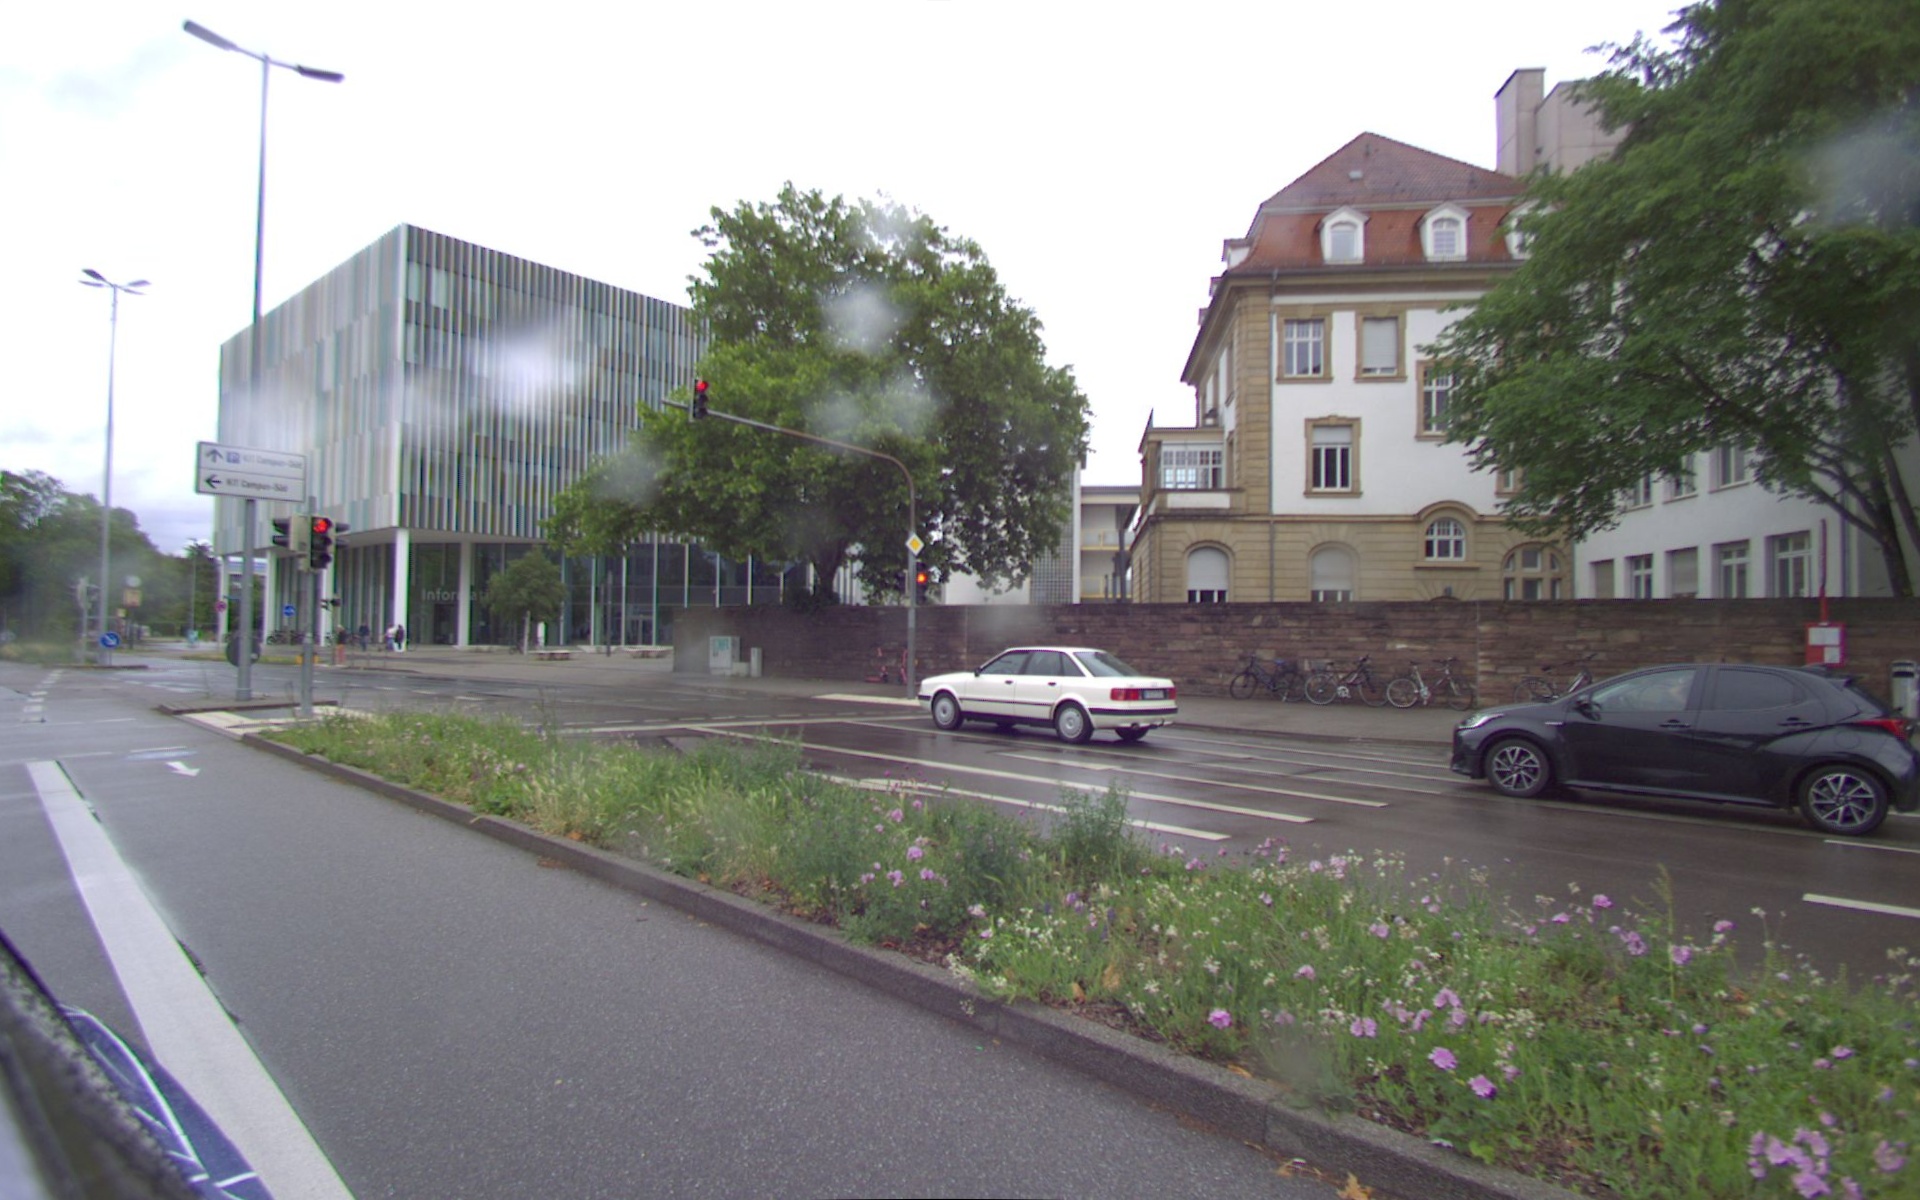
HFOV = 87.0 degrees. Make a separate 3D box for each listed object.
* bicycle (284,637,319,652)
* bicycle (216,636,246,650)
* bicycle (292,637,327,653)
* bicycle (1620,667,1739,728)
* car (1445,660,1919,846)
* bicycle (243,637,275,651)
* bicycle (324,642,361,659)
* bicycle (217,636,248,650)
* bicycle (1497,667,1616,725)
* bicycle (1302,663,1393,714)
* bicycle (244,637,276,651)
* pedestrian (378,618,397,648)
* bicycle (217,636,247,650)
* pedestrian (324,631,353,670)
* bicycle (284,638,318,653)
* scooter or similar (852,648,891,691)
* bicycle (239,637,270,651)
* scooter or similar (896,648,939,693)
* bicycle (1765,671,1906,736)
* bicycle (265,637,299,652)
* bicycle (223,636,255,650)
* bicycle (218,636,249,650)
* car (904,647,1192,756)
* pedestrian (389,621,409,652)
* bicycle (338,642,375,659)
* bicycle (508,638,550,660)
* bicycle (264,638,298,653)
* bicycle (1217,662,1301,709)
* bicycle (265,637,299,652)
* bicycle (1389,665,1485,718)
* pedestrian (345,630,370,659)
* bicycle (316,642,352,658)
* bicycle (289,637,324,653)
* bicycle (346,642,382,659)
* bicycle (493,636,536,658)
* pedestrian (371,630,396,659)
[{"bbox_3d":[-52.732,3.576,81.058,2.249,1.231,0.600,2,-3,-37],"label":"bicycle"},{"bbox_3d":[-67.800,4.020,94.150,2.249,1.231,0.600,2,-3,-37],"label":"bicycle"},{"bbox_3d":[-51.155,3.528,79.638,2.249,1.231,0.600,2,-3,-37],"label":"bicycle"},{"bbox_3d":[12.930,1.738,18.253,1.696,0.990,0.725,-1,-2,33],"label":"bicycle"},{"bbox_3d":[7.183,1.360,9.959,4.068,1.426,1.605,-2,-5,45],"label":"car"},{"bbox_3d":[-61.273,3.830,88.523,2.249,1.231,0.600,2,-3,-37],"label":"bicycle"},{"bbox_3d":[-45.607,3.706,74.790,0.597,1.231,2.262,-1,-3,31],"label":"bicycle"},{"bbox_3d":[-66.752,3.974,92.905,2.249,1.231,0.600,2,-3,-37],"label":"bicycle"},{"bbox_3d":[11.278,1.793,19.162,1.861,0.990,0.724,-1,-3,37],"label":"bicycle"},{"bbox_3d":[8.247,1.872,21.568,1.696,0.990,0.725,-1,-2,33],"label":"bicycle"},{"bbox_3d":[-61.644,3.852,89.084,2.249,1.231,0.600,2,-3,-37],"label":"bicycle"},{"bbox_3d":[-35.577,2.062,62.929,0.620,1.838,0.781,-1,-3,20],"label":"pedestrian"},{"bbox_3d":[-68.279,4.049,94.886,2.249,1.231,0.600,2,-3,-37],"label":"bicycle"},{"bbox_3d":[-29.117,2.364,47.405,0.790,1.838,0.781,-1,-3,20],"label":"pedestrian"},{"bbox_3d":[-53.288,3.673,81.801,2.249,1.231,0.600,2,-3,-37],"label":"bicycle"},{"bbox_3d":[-2.610,2.034,29.856,1.141,1.206,0.387,-1,4,39],"label":"scooter or similar"},{"bbox_3d":[-62.838,3.887,90.132,2.249,1.231,0.600,2,-3,-37],"label":"bicycle"},{"bbox_3d":[-1.208,1.995,28.678,1.140,1.206,0.387,-1,3,38],"label":"scooter or similar"},{"bbox_3d":[14.816,1.739,17.193,1.696,0.990,0.725,-1,-2,33],"label":"bicycle"},{"bbox_3d":[-55.878,3.650,83.373,2.249,1.231,0.600,2,-3,-37],"label":"bicycle"},{"bbox_3d":[-64.412,3.886,90.448,2.249,1.231,0.600,2,-3,-37],"label":"bicycle"},{"bbox_3d":[-65.880,3.933,91.801,2.249,1.231,0.600,2,-3,-37],"label":"bicycle"},{"bbox_3d":[1.241,1.494,15.882,4.526,1.426,1.578,-2,-5,45],"label":"car"},{"bbox_3d":[-34.339,2.238,61.943,0.620,1.838,0.781,-1,-3,20],"label":"pedestrian"},{"bbox_3d":[-44.232,3.693,74.206,0.597,1.231,2.262,-1,-3,31],"label":"bicycle"},{"bbox_3d":[-24.018,2.723,56.426,0.597,1.231,2.262,-1,-3,31],"label":"bicycle"},{"bbox_3d":[-56.502,3.751,84.205,2.249,1.231,0.600,2,-3,-37],"label":"bicycle"},{"bbox_3d":[6.771,1.920,22.953,1.696,0.990,0.725,-1,-2,33],"label":"bicycle"},{"bbox_3d":[-55.367,3.625,82.709,2.249,1.231,0.600,2,-3,-37],"label":"bicycle"},{"bbox_3d":[9.762,1.849,20.733,1.696,0.990,0.725,-1,-2,33],"label":"bicycle"},{"bbox_3d":[-37.962,2.793,63.766,0.914,1.838,0.935,0,-3,13],"label":"pedestrian"},{"bbox_3d":[-46.586,3.722,75.345,0.597,1.231,2.262,-1,-3,31],"label":"bicycle"},{"bbox_3d":[-51.925,3.555,80.406,2.249,1.231,0.600,2,-3,-37],"label":"bicycle"},{"bbox_3d":[-43.564,3.692,74.025,0.597,1.231,2.262,-1,-3,31],"label":"bicycle"},{"bbox_3d":[-25.007,2.638,56.808,0.597,1.231,2.262,-1,-3,31],"label":"bicycle"},{"bbox_3d":[-36.669,2.833,64.369,0.917,1.838,0.933,-1,-3,20],"label":"pedestrian"}]
